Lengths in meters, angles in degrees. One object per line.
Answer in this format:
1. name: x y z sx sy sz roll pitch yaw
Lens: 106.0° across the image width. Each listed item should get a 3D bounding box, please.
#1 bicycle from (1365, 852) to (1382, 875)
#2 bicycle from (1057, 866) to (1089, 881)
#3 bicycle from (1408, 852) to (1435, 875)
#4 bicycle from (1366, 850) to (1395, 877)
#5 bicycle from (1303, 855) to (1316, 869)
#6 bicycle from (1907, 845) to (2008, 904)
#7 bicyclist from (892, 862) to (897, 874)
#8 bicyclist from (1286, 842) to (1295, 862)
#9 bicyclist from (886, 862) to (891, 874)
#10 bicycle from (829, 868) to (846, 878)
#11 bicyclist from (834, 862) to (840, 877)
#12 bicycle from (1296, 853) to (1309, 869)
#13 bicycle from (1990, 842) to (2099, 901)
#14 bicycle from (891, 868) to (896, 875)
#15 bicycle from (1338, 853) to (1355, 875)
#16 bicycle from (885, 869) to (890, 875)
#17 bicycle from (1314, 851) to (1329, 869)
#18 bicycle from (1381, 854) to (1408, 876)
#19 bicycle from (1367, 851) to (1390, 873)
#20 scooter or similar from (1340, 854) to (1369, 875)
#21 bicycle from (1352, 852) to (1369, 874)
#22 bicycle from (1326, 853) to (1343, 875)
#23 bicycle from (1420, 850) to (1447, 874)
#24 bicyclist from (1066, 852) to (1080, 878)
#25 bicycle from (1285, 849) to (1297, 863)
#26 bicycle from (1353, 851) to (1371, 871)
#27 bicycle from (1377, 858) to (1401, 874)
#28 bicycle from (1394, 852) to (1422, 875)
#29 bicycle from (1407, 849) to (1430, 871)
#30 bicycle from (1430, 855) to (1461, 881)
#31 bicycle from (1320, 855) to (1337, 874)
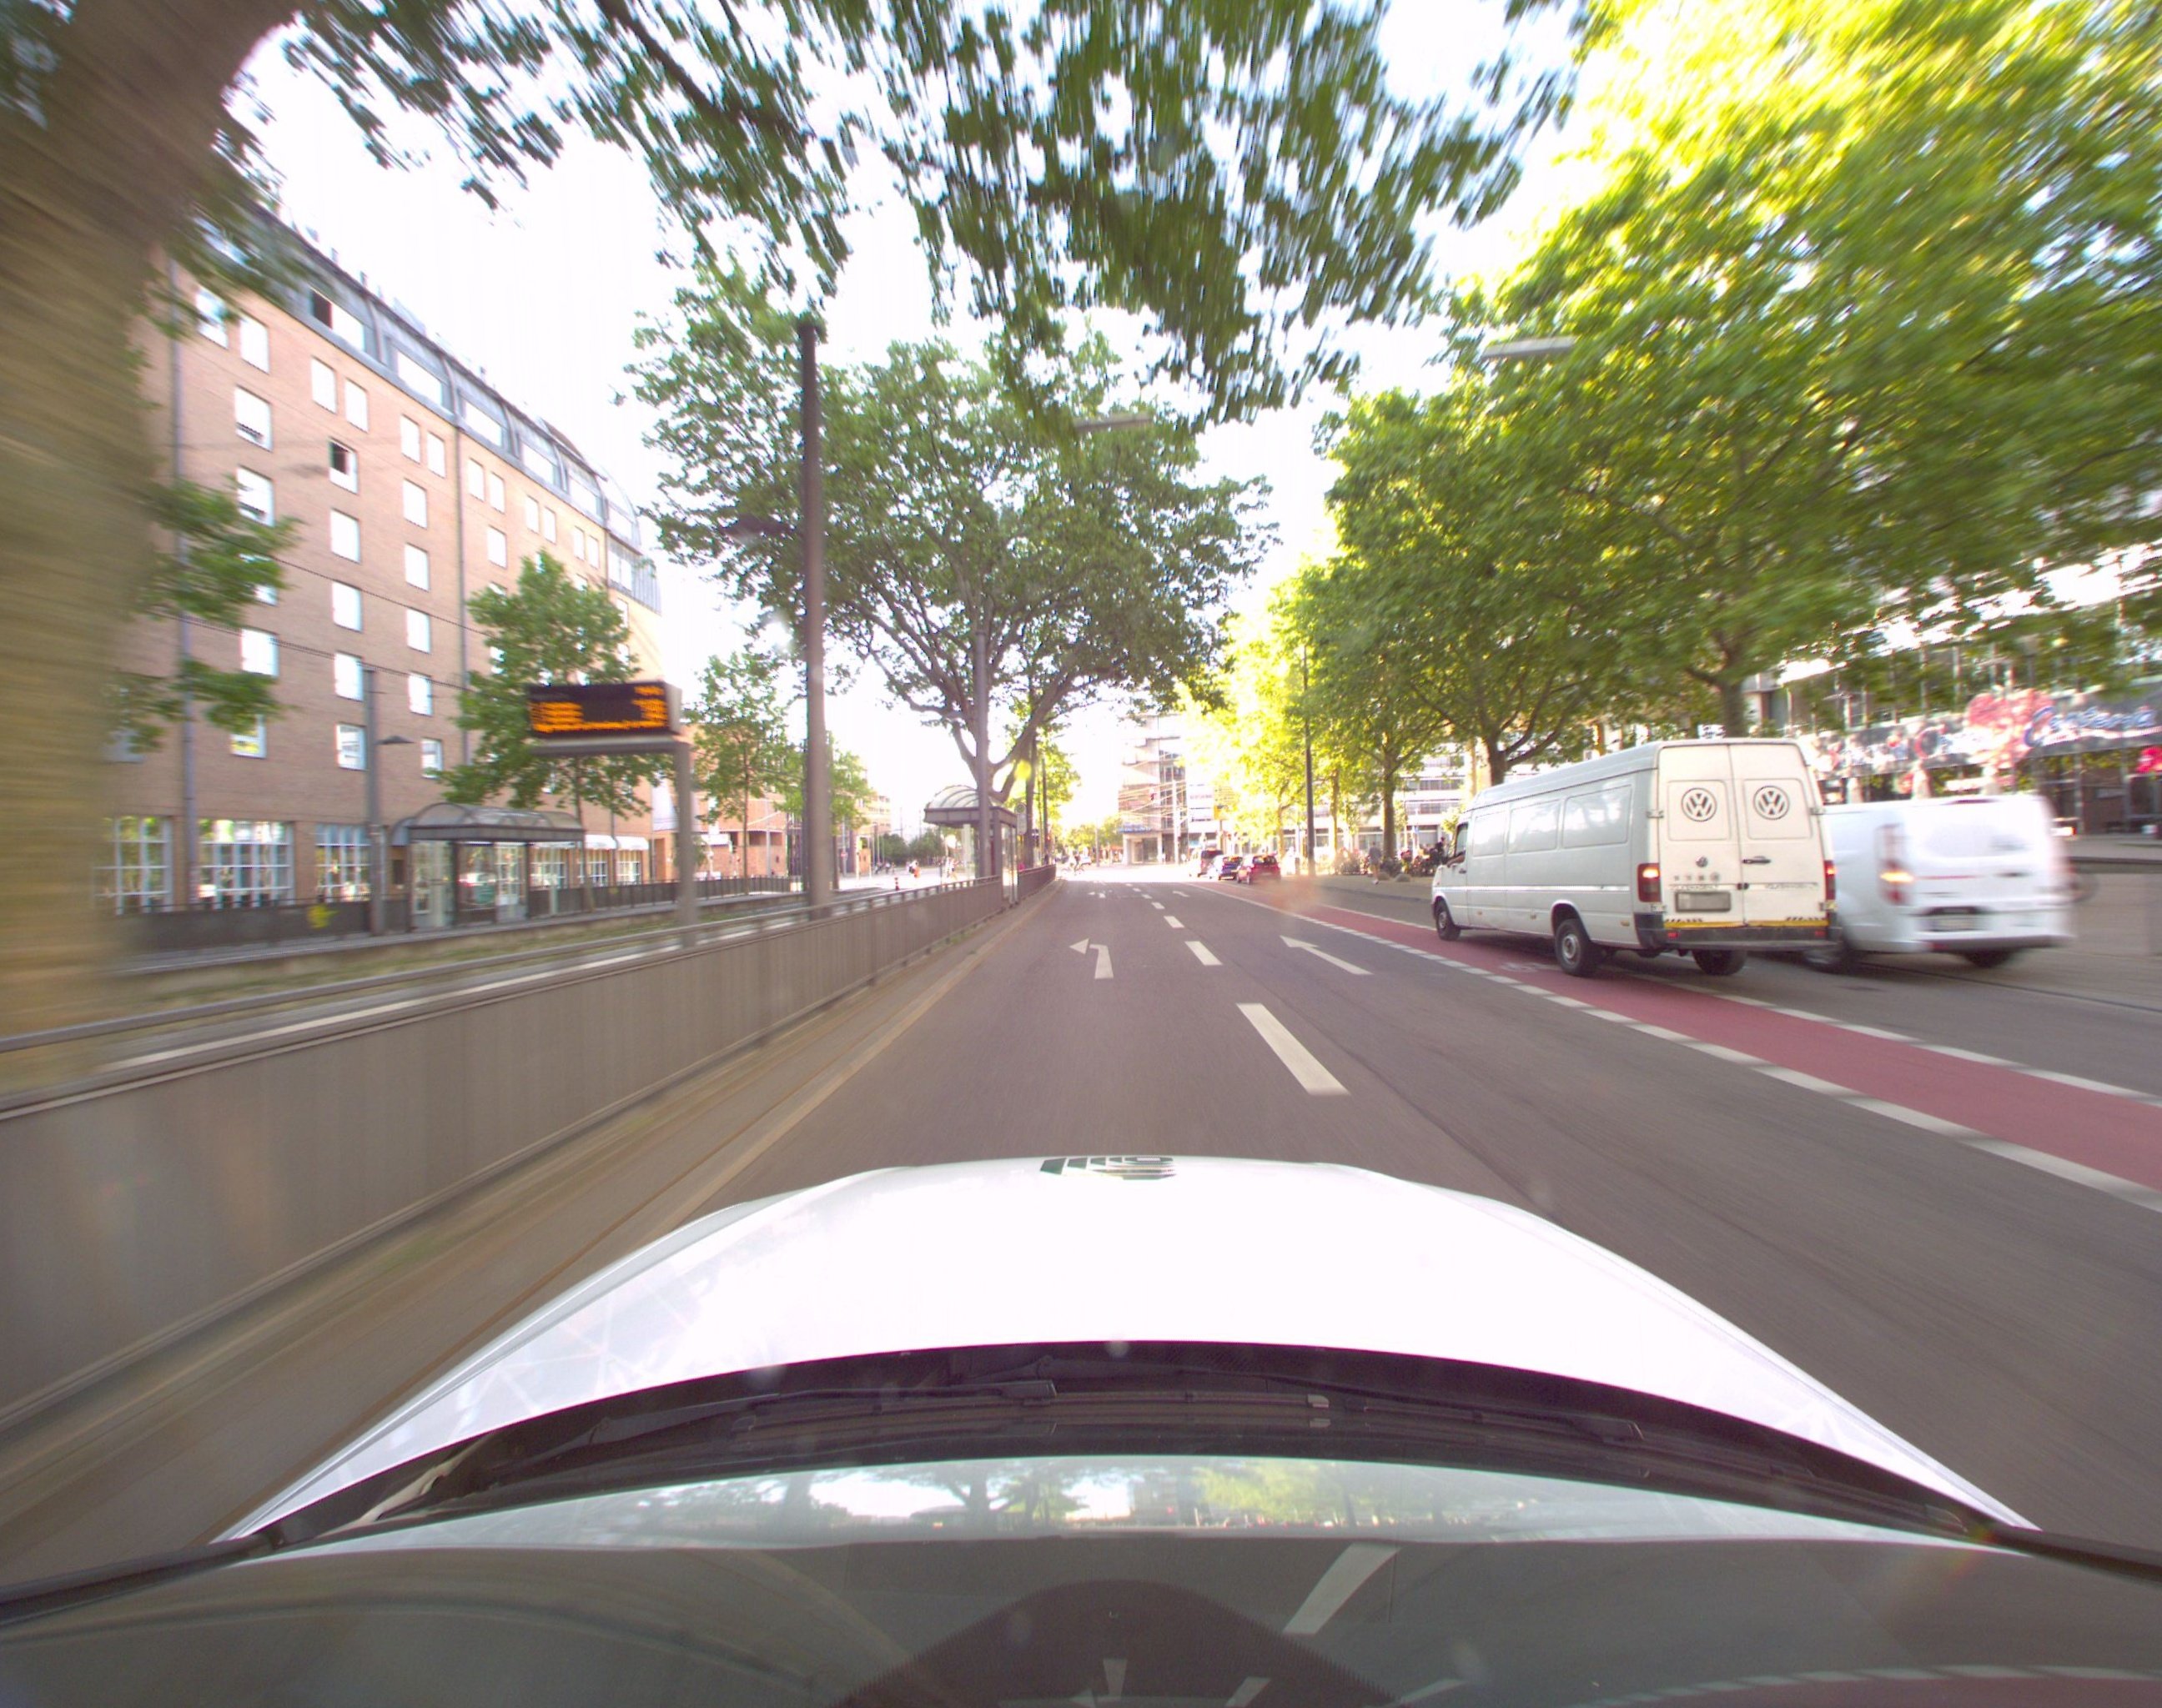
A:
1. bicycle: 15.580 0.495 43.350 0.601 1.116 1.837 -3 0 26
2. bicycle: -0.574 1.402 58.514 2.176 0.933 0.666 -2 -1 -8
3. bicycle: 16.347 0.457 39.137 0.500 1.032 1.654 -2 0 -2
4. bicycle: 14.368 0.454 39.063 0.594 1.264 1.875 -2 0 -2
5. bicycle: 17.050 0.591 60.727 0.449 0.983 1.475 -2 0 -3
6. bicycle: 17.228 0.387 16.052 0.548 1.077 1.483 -2 0 10
7. bicyclist: -27.049 2.037 117.993 0.593 1.675 0.787 -2 0 -8
8. bicyclist: 17.339 -0.159 67.360 0.559 1.616 0.823 -2 0 5
9. bicyclist: -27.801 2.039 117.709 0.593 1.675 0.787 -2 0 -8
10. bicycle: -32.144 2.509 107.350 2.107 1.239 0.448 -2 0 -40
11. bicyclist: -32.215 2.046 107.305 0.565 2.060 0.446 -2 -1 -39
12. bicycle: 16.338 0.498 60.079 0.449 1.144 1.475 -2 0 -3
13. bicycle: 18.516 0.319 15.694 0.456 1.077 1.514 -2 0 10
14. bicycle: -27.134 2.552 117.925 0.512 0.881 1.833 -2 0 -9
15. bicycle: 14.307 0.516 43.892 0.590 1.116 1.961 -3 0 26
16. bicycle: -27.937 2.601 117.589 0.512 0.881 1.833 -2 0 -9
17. bicycle: 17.935 0.462 60.720 0.449 1.286 1.885 -2 0 -3
18. bicycle: 15.038 0.532 39.138 0.594 1.032 1.654 -2 0 -2
19. bicycle: 16.180 0.454 44.373 0.478 1.159 1.471 -2 0 -10
20. scooter or similar: 15.326 0.586 45.600 1.255 1.142 0.911 1 -3 -15
21. bicycle: 14.946 0.497 43.573 0.590 1.116 1.837 -3 0 26
22. bicycle: 13.881 0.539 44.588 0.590 1.116 1.837 -3 0 26
23. bicycle: 16.933 0.374 39.167 0.500 1.137 1.654 -2 0 -2
24. bicyclist: -0.592 0.772 58.514 0.849 1.785 0.751 -2 0 -7
25. bicycle: 17.342 0.139 67.259 0.563 1.126 1.781 -2 0 5
26. bicycle: 16.662 0.424 48.330 0.419 1.159 1.475 -2 0 -3
27. bicycle: 15.963 0.618 42.252 1.098 0.760 0.402 -2 0 26
28. bicycle: 15.724 0.458 39.146 0.594 1.032 1.654 -2 0 -2
29. bicycle: 18.359 0.306 44.304 0.420 1.159 1.471 -2 0 -10
30. bicycle: 14.405 0.539 32.237 0.449 0.980 1.763 -2 0 2
31. bicycle: 14.574 0.592 48.011 0.625 1.057 1.574 -2 0 4
